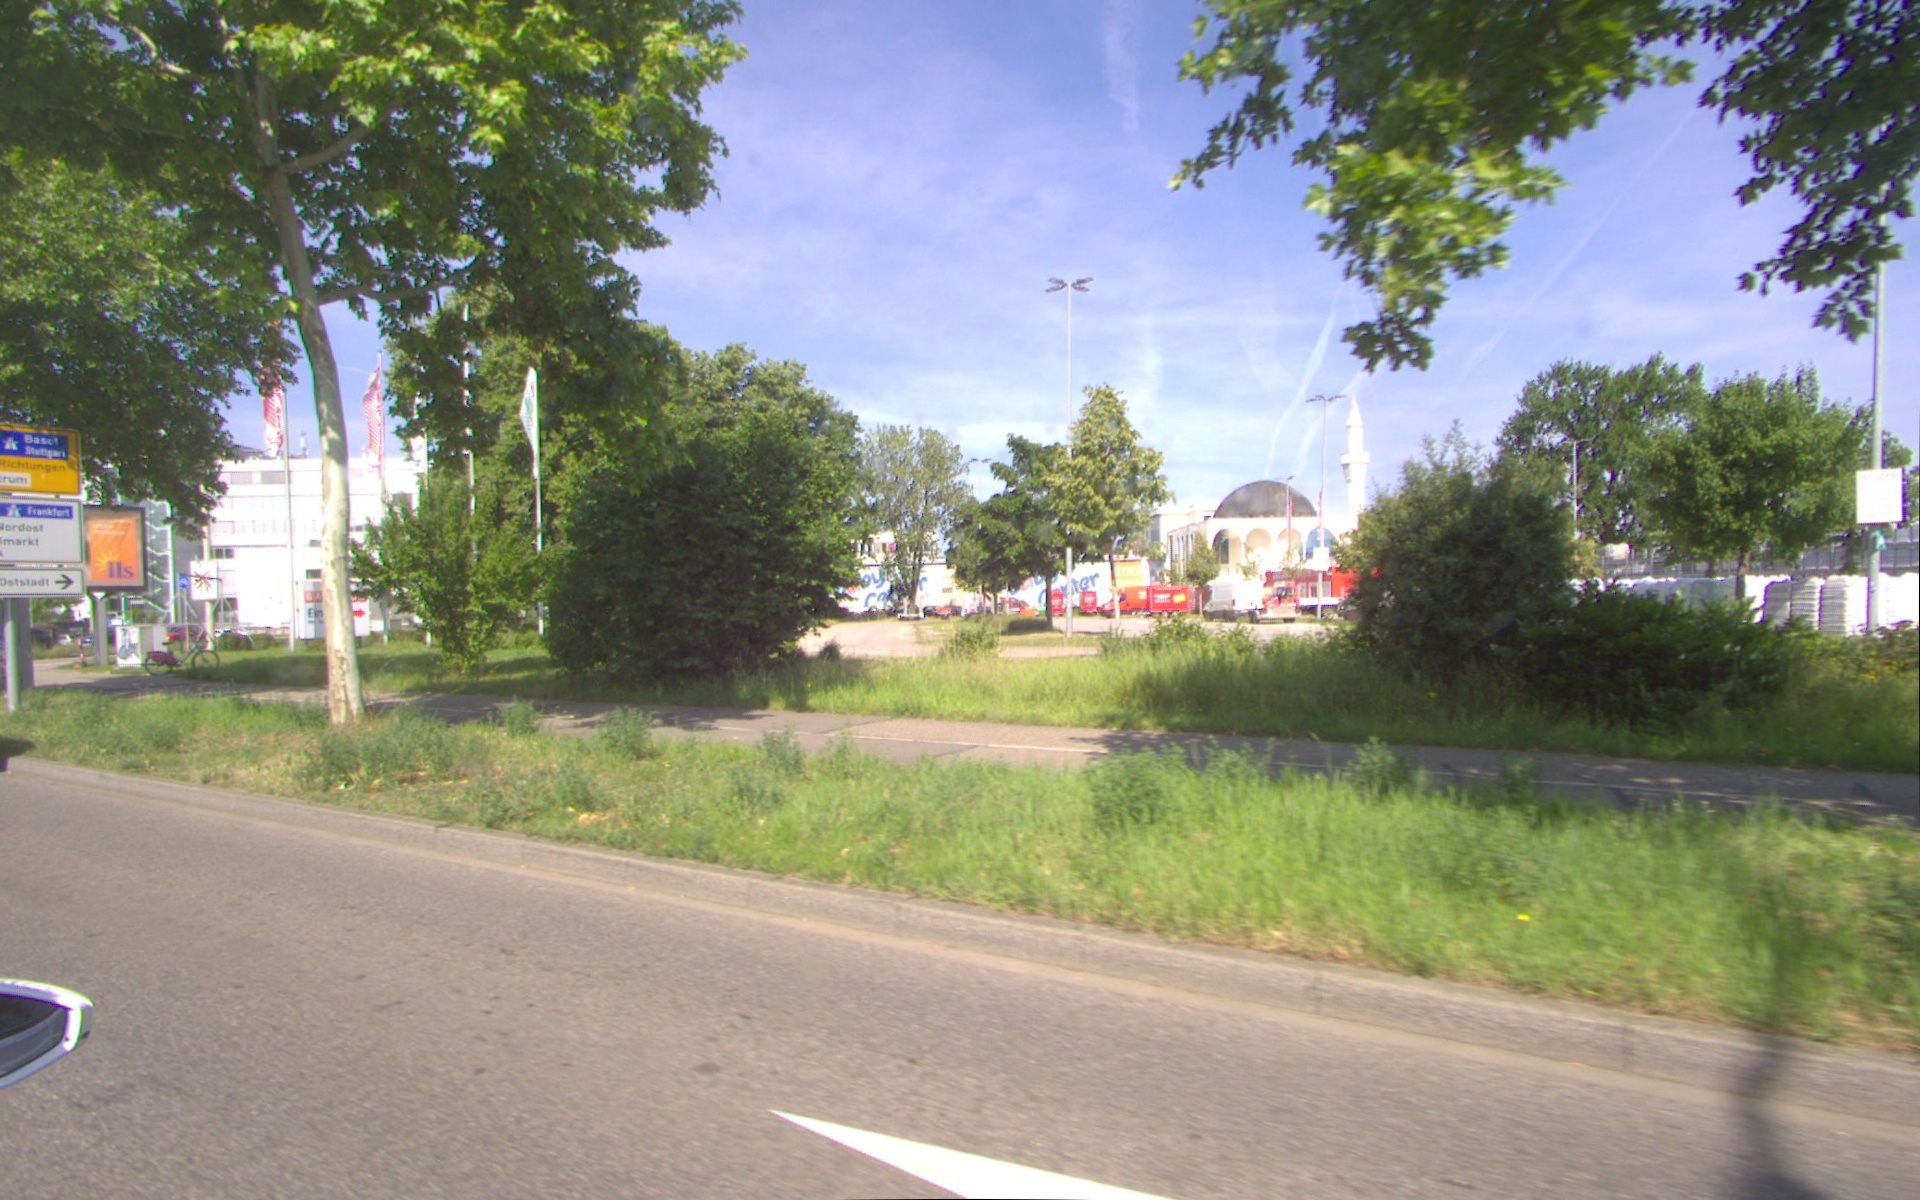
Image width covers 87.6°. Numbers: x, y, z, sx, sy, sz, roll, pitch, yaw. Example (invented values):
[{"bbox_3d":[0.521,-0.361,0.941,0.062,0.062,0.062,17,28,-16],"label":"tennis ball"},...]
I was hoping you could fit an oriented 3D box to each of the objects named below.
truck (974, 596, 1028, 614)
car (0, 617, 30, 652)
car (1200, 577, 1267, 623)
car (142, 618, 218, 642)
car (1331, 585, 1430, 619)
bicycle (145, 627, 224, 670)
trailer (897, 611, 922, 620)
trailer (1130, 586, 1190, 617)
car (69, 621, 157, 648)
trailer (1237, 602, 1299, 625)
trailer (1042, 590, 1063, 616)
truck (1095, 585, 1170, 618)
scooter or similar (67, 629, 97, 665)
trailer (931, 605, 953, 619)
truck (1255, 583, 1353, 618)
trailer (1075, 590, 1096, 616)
[{"bbox_3d":[4.551,0.572,112.169,5.888,1.854,2.189,0,-2,-2],"label":"truck"},{"bbox_3d":[-48.962,1.758,49.494,1.879,1.711,4.626,-1,0,-4],"label":"car"},{"bbox_3d":[16.692,0.037,61.462,1.980,2.575,5.687,-3,0,-6],"label":"car"},{"bbox_3d":[-52.815,1.976,67.889,1.747,1.463,4.626,-1,0,-4],"label":"car"},{"bbox_3d":[23.316,0.078,55.592,4.737,1.841,1.873,0,2,-6],"label":"car"},{"bbox_3d":[-22.625,1.404,29.234,1.771,1.123,0.499,-3,2,-40],"label":"bicycle"},{"bbox_3d":[-4.757,1.461,94.152,2.059,0.792,4.411,-1,0,1],"label":"trailer"},{"bbox_3d":[15.685,0.106,78.693,4.325,2.408,1.751,-1,1,0],"label":"trailer"},{"bbox_3d":[-52.557,2.110,62.247,1.747,1.463,4.626,-1,0,-4],"label":"car"},{"bbox_3d":[17.114,0.720,55.869,2.029,1.137,4.031,-3,0,-2],"label":"trailer"},{"bbox_3d":[8.928,0.278,97.054,1.560,2.408,4.410,-1,1,-1],"label":"trailer"},{"bbox_3d":[14.511,0.150,84.431,5.914,2.644,2.019,-1,0,-6],"label":"truck"},{"bbox_3d":[-28.715,1.525,32.751,1.107,1.141,0.423,-1,1,32],"label":"scooter or similar"},{"bbox_3d":[-1.745,1.133,94.901,1.560,1.304,4.410,-1,0,-7],"label":"trailer"},{"bbox_3d":[22.800,0.058,66.424,5.751,2.168,2.066,-1,0,-1],"label":"truck"},{"bbox_3d":[12.076,0.266,96.435,1.520,2.389,4.410,0,1,2],"label":"trailer"}]
